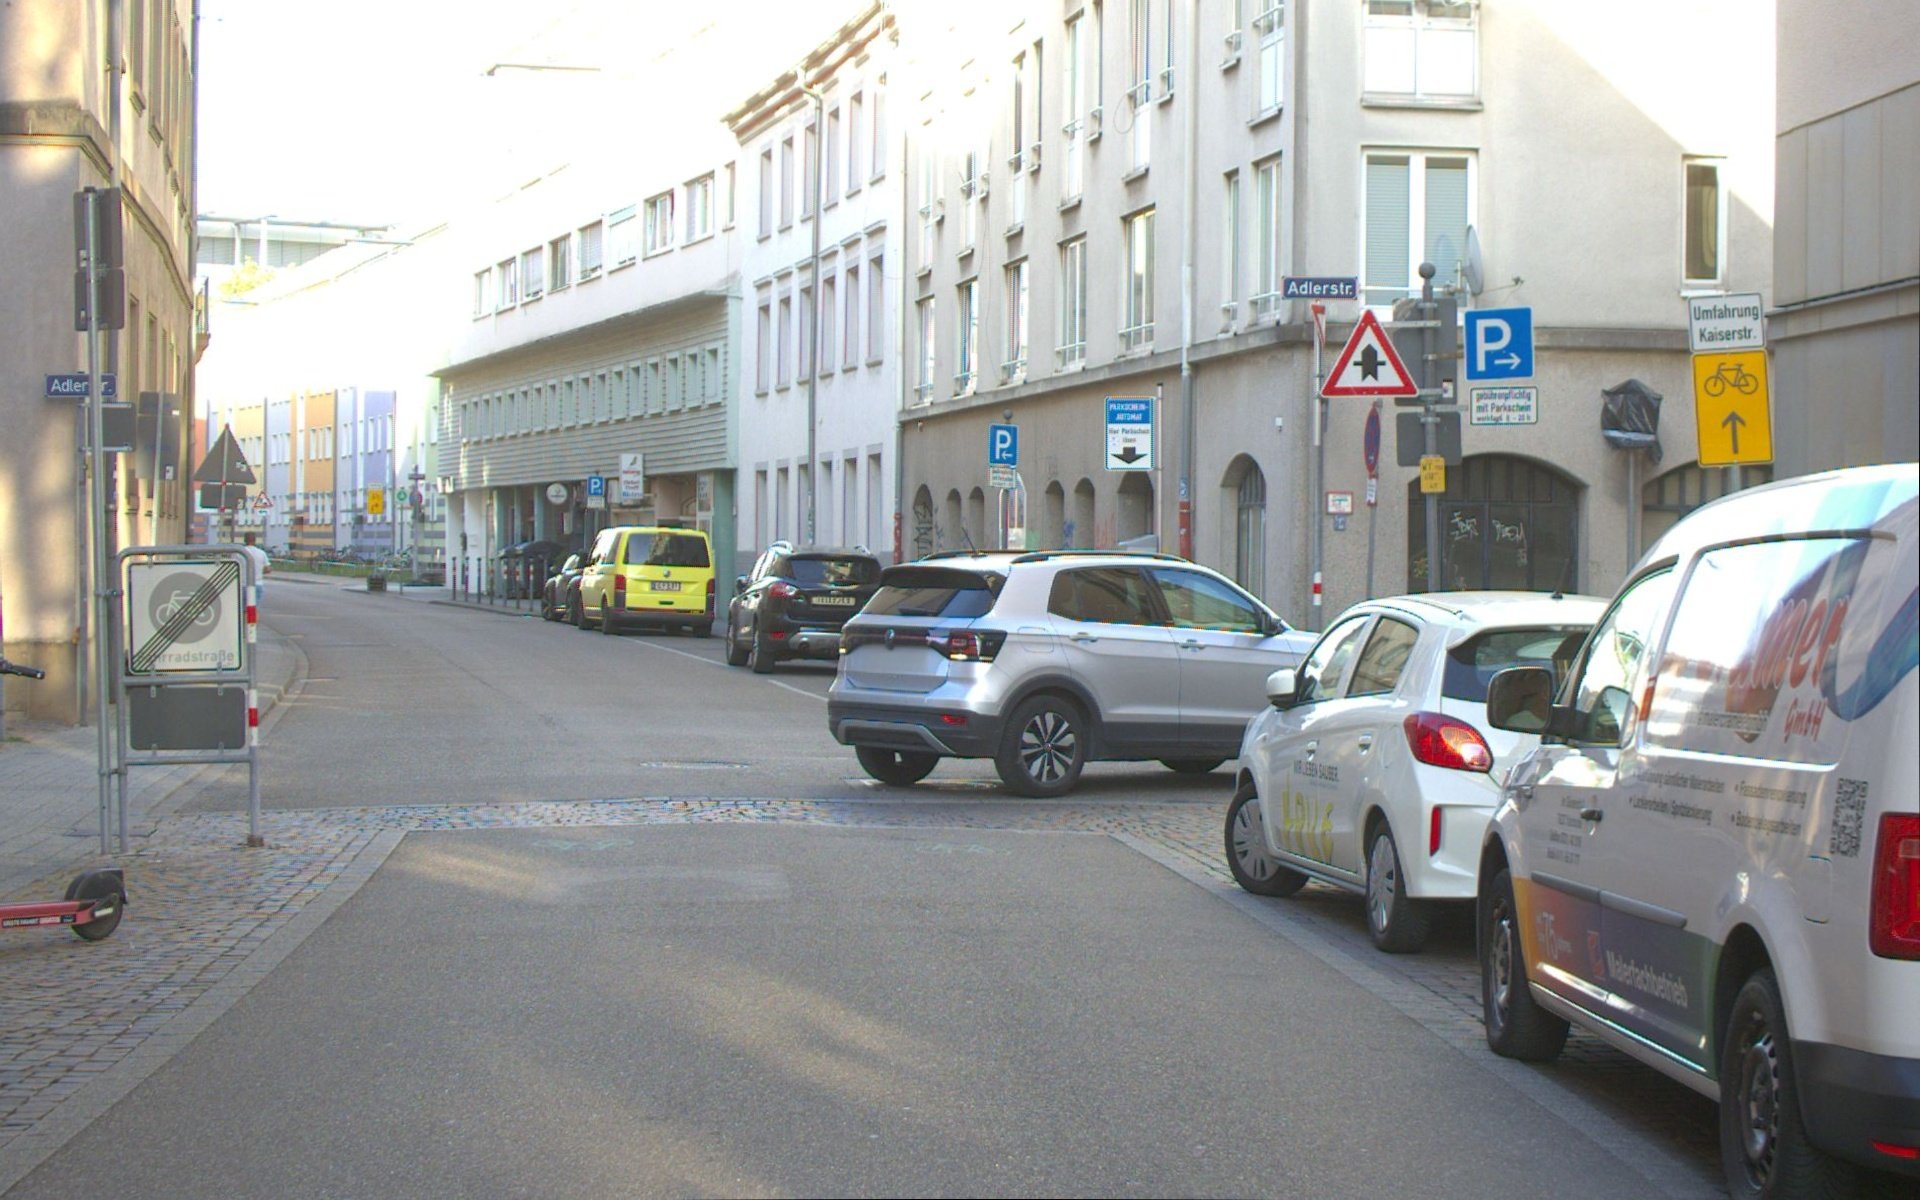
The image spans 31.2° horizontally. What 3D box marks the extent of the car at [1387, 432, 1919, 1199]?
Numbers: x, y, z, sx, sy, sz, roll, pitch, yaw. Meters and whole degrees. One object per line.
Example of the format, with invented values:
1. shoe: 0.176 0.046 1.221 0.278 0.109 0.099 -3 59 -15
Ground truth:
1. car: 2.550 0.550 9.409 1.830 1.785 5.214 2 1 -3

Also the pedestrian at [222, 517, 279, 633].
1. pedestrian: -10.630 -0.375 51.527 0.765 1.718 0.687 1 1 -16

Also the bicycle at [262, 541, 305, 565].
1. bicycle: -29.381 -2.051 149.233 1.780 0.997 0.547 1 1 -16

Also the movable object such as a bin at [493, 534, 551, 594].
1. movable object such as a bin: -11.118 -0.922 87.200 1.131 1.474 1.740 1 1 -18

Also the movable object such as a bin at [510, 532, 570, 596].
1. movable object such as a bin: -10.453 -0.907 85.523 1.131 1.552 1.740 1 1 -18

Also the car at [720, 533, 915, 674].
1. car: -1.922 0.009 45.149 1.967 1.686 4.102 2 1 -10

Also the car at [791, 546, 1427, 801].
1. car: 1.039 0.423 23.102 3.988 1.557 1.842 -1 1 -36

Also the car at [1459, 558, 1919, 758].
1. car: 6.528 0.477 29.086 4.215 1.548 1.902 1 1 -4

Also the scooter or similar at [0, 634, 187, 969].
1. scooter or similar: -3.717 0.760 13.386 0.698 1.213 1.355 0 1 25

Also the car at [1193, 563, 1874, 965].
1. car: 2.386 0.625 15.434 1.888 1.513 4.064 1 1 -7

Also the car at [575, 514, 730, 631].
1. car: -5.537 -0.521 61.476 2.052 2.007 4.176 1 1 -15

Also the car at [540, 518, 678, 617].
1. car: -6.897 -0.659 67.209 2.052 1.866 4.101 1 1 -15
